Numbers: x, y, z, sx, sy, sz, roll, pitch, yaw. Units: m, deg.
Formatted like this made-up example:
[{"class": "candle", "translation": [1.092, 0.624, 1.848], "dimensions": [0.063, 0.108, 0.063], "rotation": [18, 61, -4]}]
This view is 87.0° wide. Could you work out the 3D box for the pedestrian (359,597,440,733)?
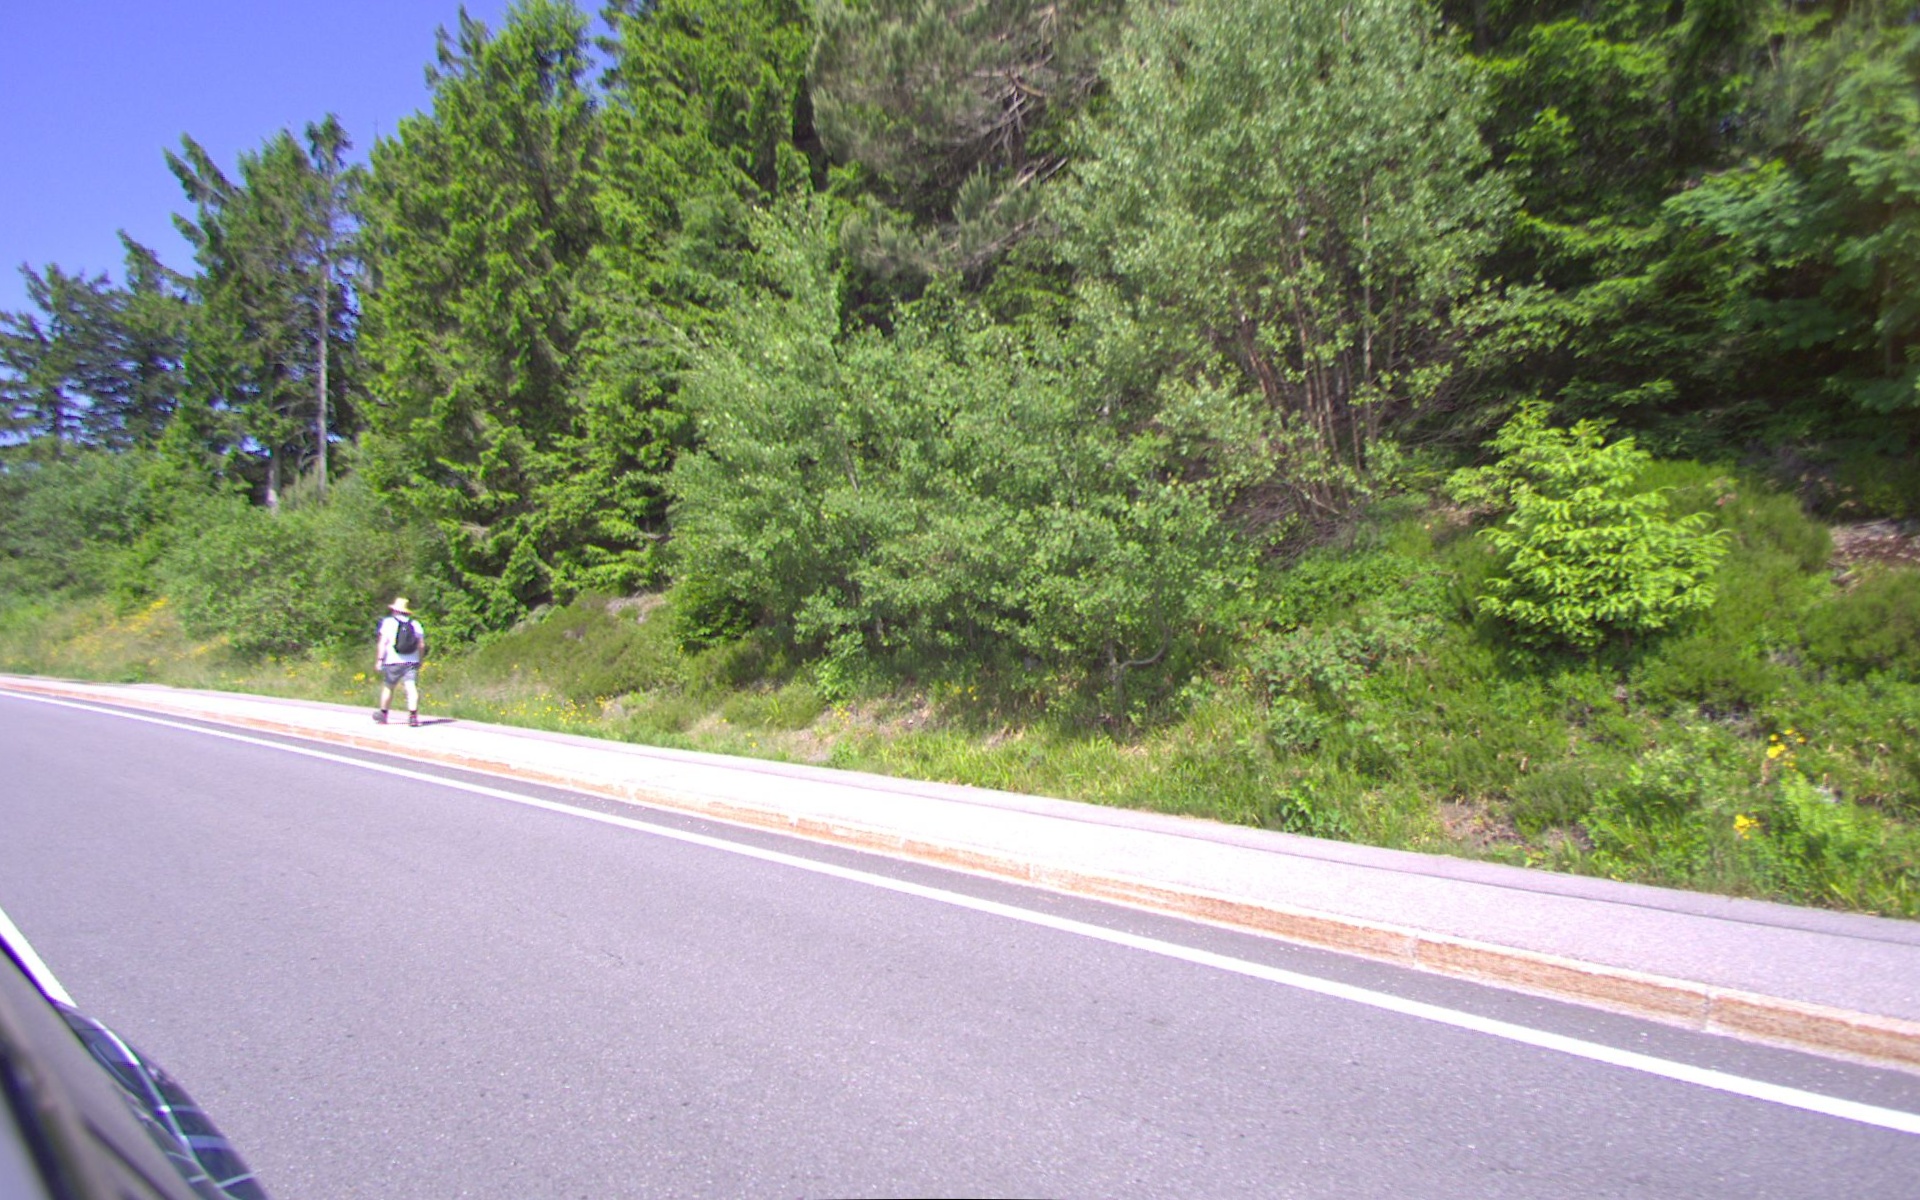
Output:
[{"class": "pedestrian", "translation": [-7.565, 0.855, 13.665], "dimensions": [0.823, 1.759, 0.676], "rotation": [-2, -1, 36]}]
